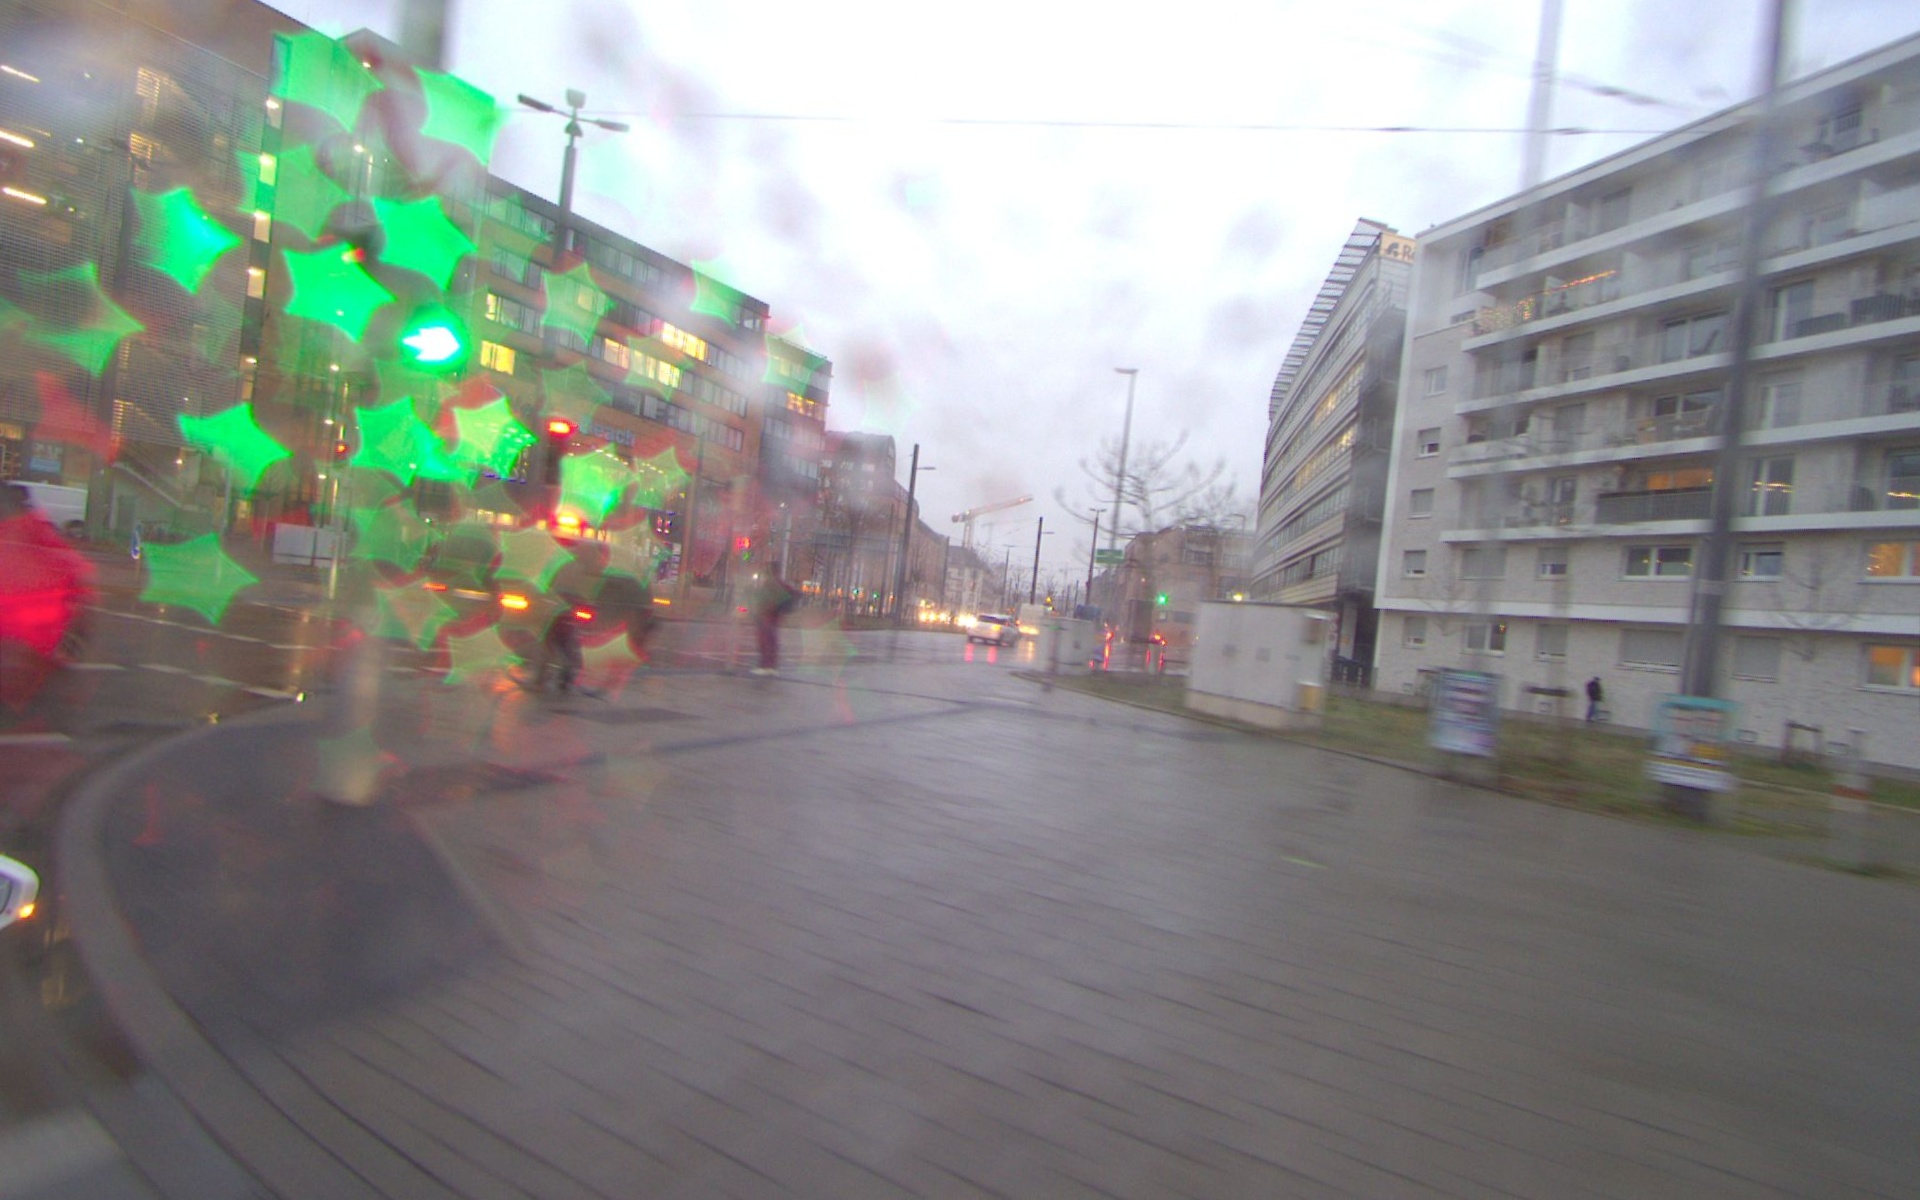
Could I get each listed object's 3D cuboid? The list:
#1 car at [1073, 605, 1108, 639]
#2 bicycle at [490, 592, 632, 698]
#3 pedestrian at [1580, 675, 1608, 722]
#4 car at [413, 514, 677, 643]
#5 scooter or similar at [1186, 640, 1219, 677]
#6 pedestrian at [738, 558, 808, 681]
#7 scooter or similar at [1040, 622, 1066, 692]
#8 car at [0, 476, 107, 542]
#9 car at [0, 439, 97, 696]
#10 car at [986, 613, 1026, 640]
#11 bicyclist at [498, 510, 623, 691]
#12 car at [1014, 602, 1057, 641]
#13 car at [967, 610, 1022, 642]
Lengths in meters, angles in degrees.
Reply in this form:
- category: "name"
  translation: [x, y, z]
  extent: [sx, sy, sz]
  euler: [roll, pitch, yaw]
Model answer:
- category: "car"
  translation: [12.543, 2.155, 96.297]
  extent: [2.318, 2.861, 6.363]
  euler: [7, -1, 15]
- category: "bicycle"
  translation: [-4.587, 0.495, 11.492]
  extent: [1.840, 0.985, 0.654]
  euler: [6, 0, 41]
- category: "pedestrian"
  translation: [23.495, 3.667, 37.281]
  extent: [0.624, 1.652, 0.718]
  euler: [7, 1, 43]
- category: "car"
  translation: [-7.161, -0.262, 17.956]
  extent: [1.814, 1.828, 4.489]
  euler: [7, -1, 16]
- category: "scooter or similar"
  translation: [9.027, 2.182, 37.410]
  extent: [0.658, 1.241, 1.555]
  euler: [6, -2, 29]
- category: "pedestrian"
  translation: [-3.056, 0.310, 16.437]
  extent: [0.768, 1.901, 0.629]
  euler: [6, 1, -33]
- category: "scooter or similar"
  translation: [1.736, 1.038, 18.677]
  extent: [0.327, 1.221, 1.310]
  euler: [6, 0, 7]
- category: "car"
  translation: [-30.720, -3.088, 32.325]
  extent: [1.898, 1.740, 4.601]
  euler: [7, -1, 32]
- category: "car"
  translation: [-7.453, -0.308, 6.710]
  extent: [1.662, 1.800, 3.971]
  euler: [9, -2, -30]
- category: "car"
  translation: [2.998, 1.760, 65.282]
  extent: [1.613, 1.514, 3.686]
  euler: [7, 0, 16]
- category: "bicyclist"
  translation: [-4.526, 0.011, 11.393]
  extent: [0.975, 1.914, 0.789]
  euler: [7, 1, 40]
- category: "car"
  translation: [5.570, 1.620, 73.664]
  extent: [1.962, 2.457, 5.978]
  euler: [7, -1, 13]
- category: "car"
  translation: [1.841, 1.378, 52.002]
  extent: [1.614, 1.377, 3.733]
  euler: [7, -1, 21]
